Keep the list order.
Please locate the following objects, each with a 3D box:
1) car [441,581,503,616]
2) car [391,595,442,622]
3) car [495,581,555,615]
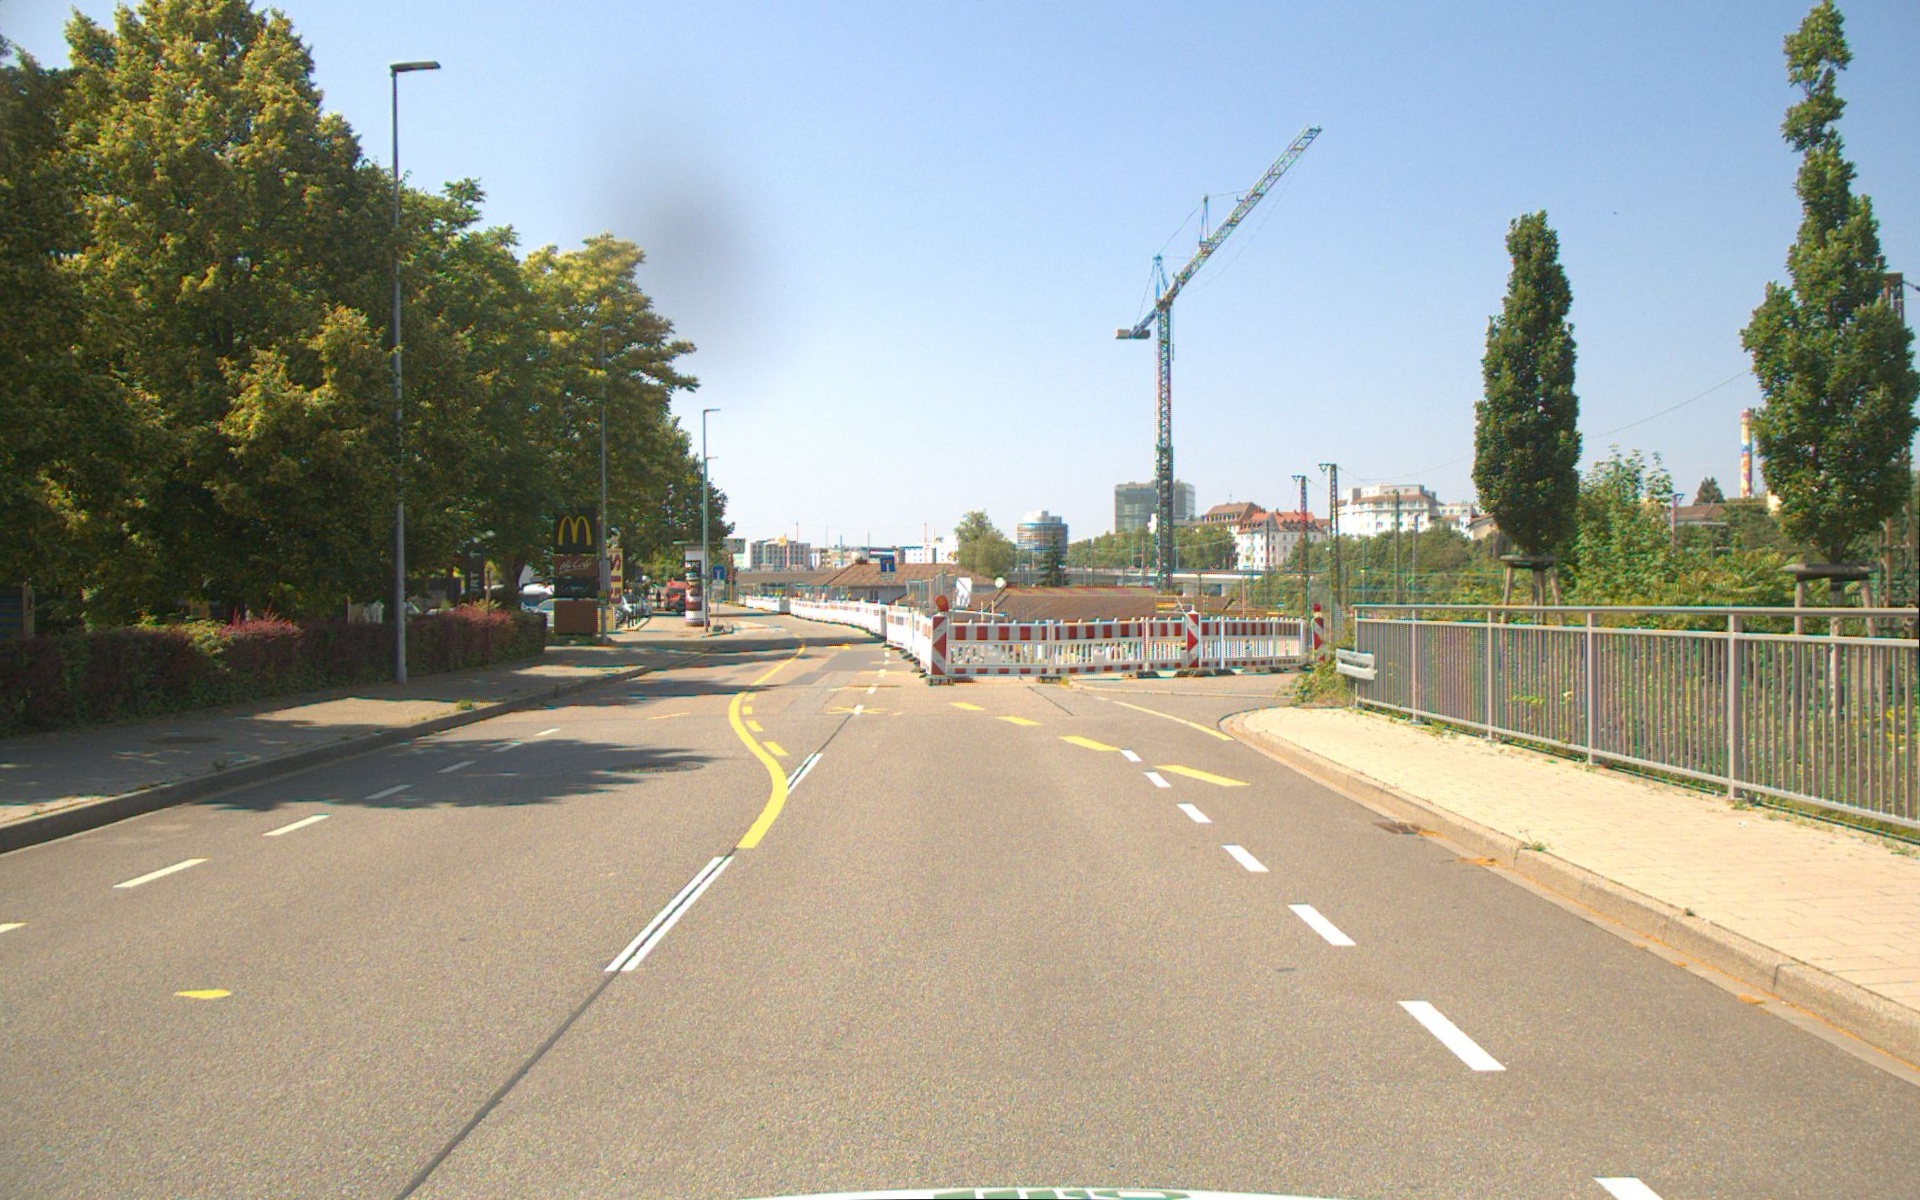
[{"bbox_3d":[-27.206,-0.083,92.194,1.980,1.937,3.944,0,0,-39],"label":"car"},{"bbox_3d":[-30.044,0.446,91.330,1.556,1.445,3.638,0,0,-38],"label":"car"},{"bbox_3d":[-25.115,-0.104,95.410,1.812,1.963,3.941,0,0,-40],"label":"car"}]
